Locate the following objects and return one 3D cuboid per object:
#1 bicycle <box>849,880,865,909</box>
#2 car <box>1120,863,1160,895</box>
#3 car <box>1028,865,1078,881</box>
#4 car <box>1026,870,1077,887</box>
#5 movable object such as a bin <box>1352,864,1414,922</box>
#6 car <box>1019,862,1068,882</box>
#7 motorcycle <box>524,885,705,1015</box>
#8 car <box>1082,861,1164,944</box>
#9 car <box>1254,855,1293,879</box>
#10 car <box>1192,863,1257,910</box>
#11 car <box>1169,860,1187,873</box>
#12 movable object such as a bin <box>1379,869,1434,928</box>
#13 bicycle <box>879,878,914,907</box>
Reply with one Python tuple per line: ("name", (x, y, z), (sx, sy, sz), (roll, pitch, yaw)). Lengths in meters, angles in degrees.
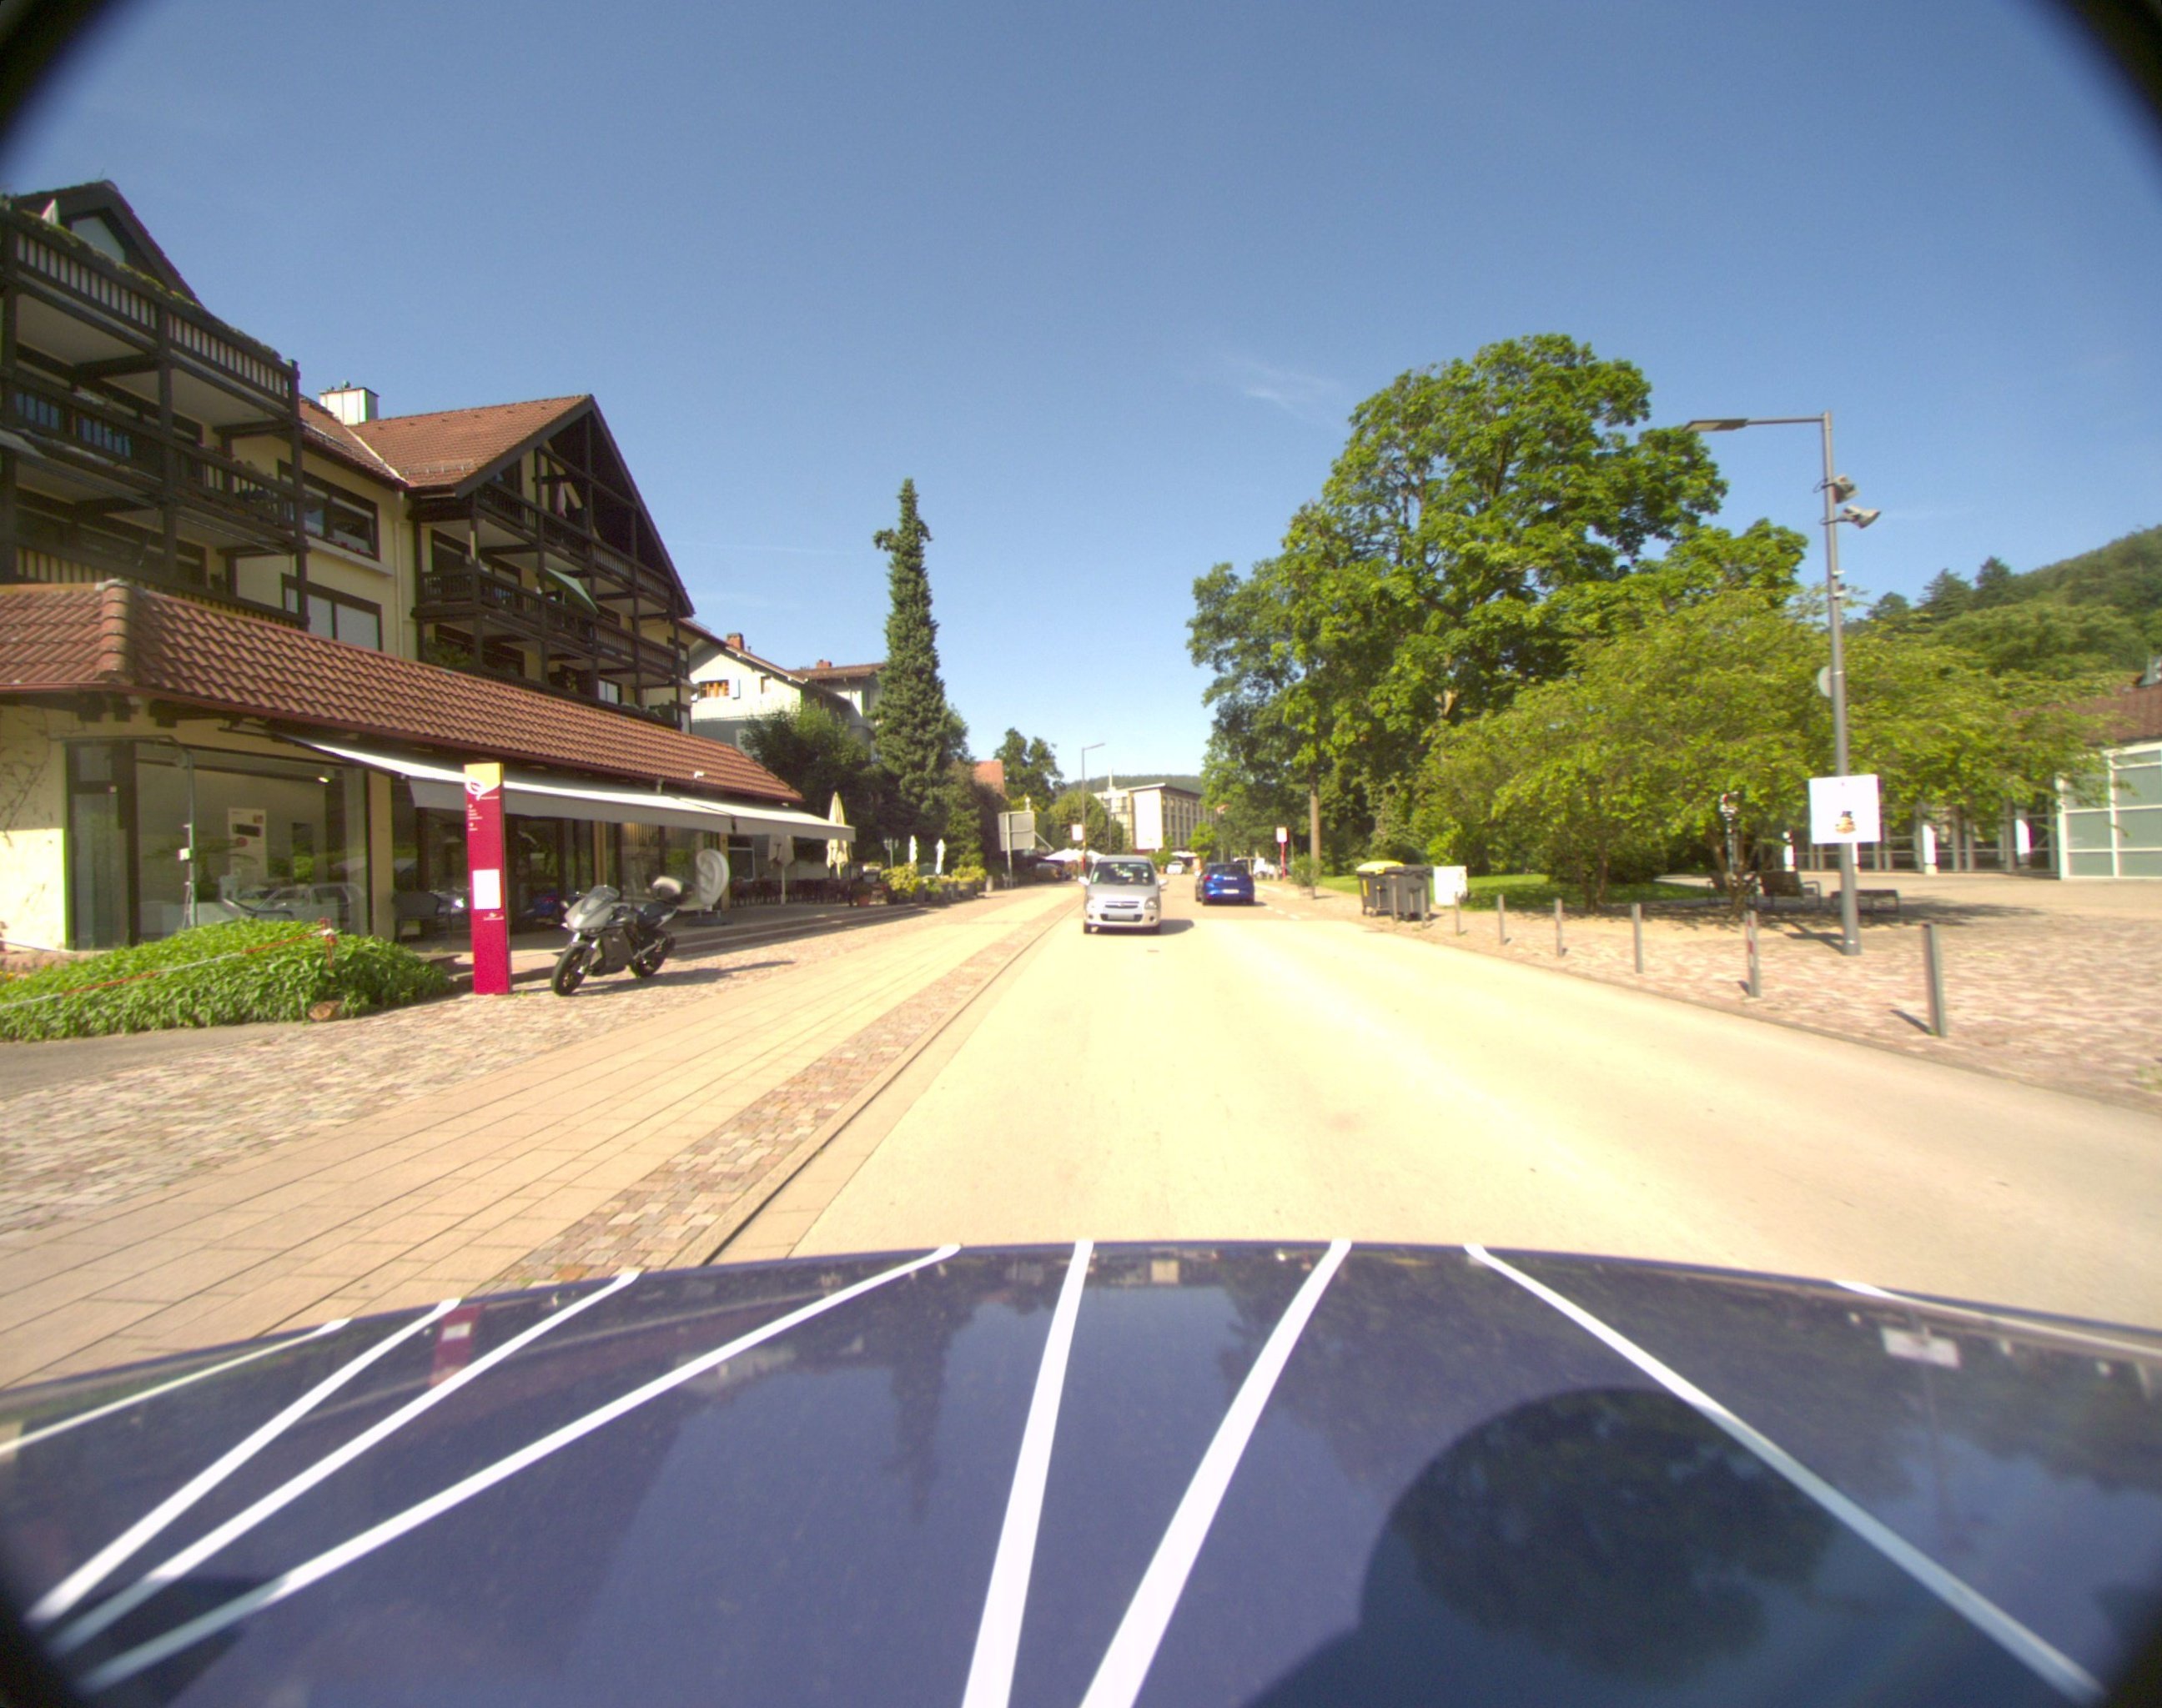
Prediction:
("bicycle", (-7.105, 1.277, 24.110), (0.397, 0.837, 1.614), (-2, 0, -15))
("car", (3.171, 1.275, 40.125), (1.739, 1.488, 3.932), (-3, -1, 9))
("car", (-2.506, 1.693, 68.282), (4.270, 1.371, 1.710), (-1, 0, 8))
("car", (-2.526, 2.114, 65.640), (4.117, 1.406, 1.750), (-1, 0, 8))
("movable object such as a bin", (8.087, 1.021, 20.407), (1.081, 1.419, 1.377), (-4, -1, 4))
("car", (-3.085, 1.502, 63.293), (3.884, 1.570, 1.749), (-1, 0, 3))
("motorcycle", (-5.442, 1.054, 9.080), (0.698, 1.288, 2.213), (1, 0, 3))
("car", (0.887, 0.973, 16.986), (1.604, 1.628, 4.001), (0, 0, 2))
("car", (14.128, 0.951, 55.833), (2.655, 1.537, 1.684), (-4, 0, 13))
("car", (5.028, 1.093, 27.123), (1.745, 1.454, 4.188), (0, 0, 3))
("car", (11.672, 1.511, 91.133), (1.653, 1.462, 4.005), (-4, -1, 14))
("movable object such as a bin", (7.888, 1.048, 18.471), (0.756, 1.333, 1.295), (-4, -1, 4))
("bicycle", (-5.907, 1.230, 24.405), (0.397, 0.858, 1.618), (-2, 0, 12))
